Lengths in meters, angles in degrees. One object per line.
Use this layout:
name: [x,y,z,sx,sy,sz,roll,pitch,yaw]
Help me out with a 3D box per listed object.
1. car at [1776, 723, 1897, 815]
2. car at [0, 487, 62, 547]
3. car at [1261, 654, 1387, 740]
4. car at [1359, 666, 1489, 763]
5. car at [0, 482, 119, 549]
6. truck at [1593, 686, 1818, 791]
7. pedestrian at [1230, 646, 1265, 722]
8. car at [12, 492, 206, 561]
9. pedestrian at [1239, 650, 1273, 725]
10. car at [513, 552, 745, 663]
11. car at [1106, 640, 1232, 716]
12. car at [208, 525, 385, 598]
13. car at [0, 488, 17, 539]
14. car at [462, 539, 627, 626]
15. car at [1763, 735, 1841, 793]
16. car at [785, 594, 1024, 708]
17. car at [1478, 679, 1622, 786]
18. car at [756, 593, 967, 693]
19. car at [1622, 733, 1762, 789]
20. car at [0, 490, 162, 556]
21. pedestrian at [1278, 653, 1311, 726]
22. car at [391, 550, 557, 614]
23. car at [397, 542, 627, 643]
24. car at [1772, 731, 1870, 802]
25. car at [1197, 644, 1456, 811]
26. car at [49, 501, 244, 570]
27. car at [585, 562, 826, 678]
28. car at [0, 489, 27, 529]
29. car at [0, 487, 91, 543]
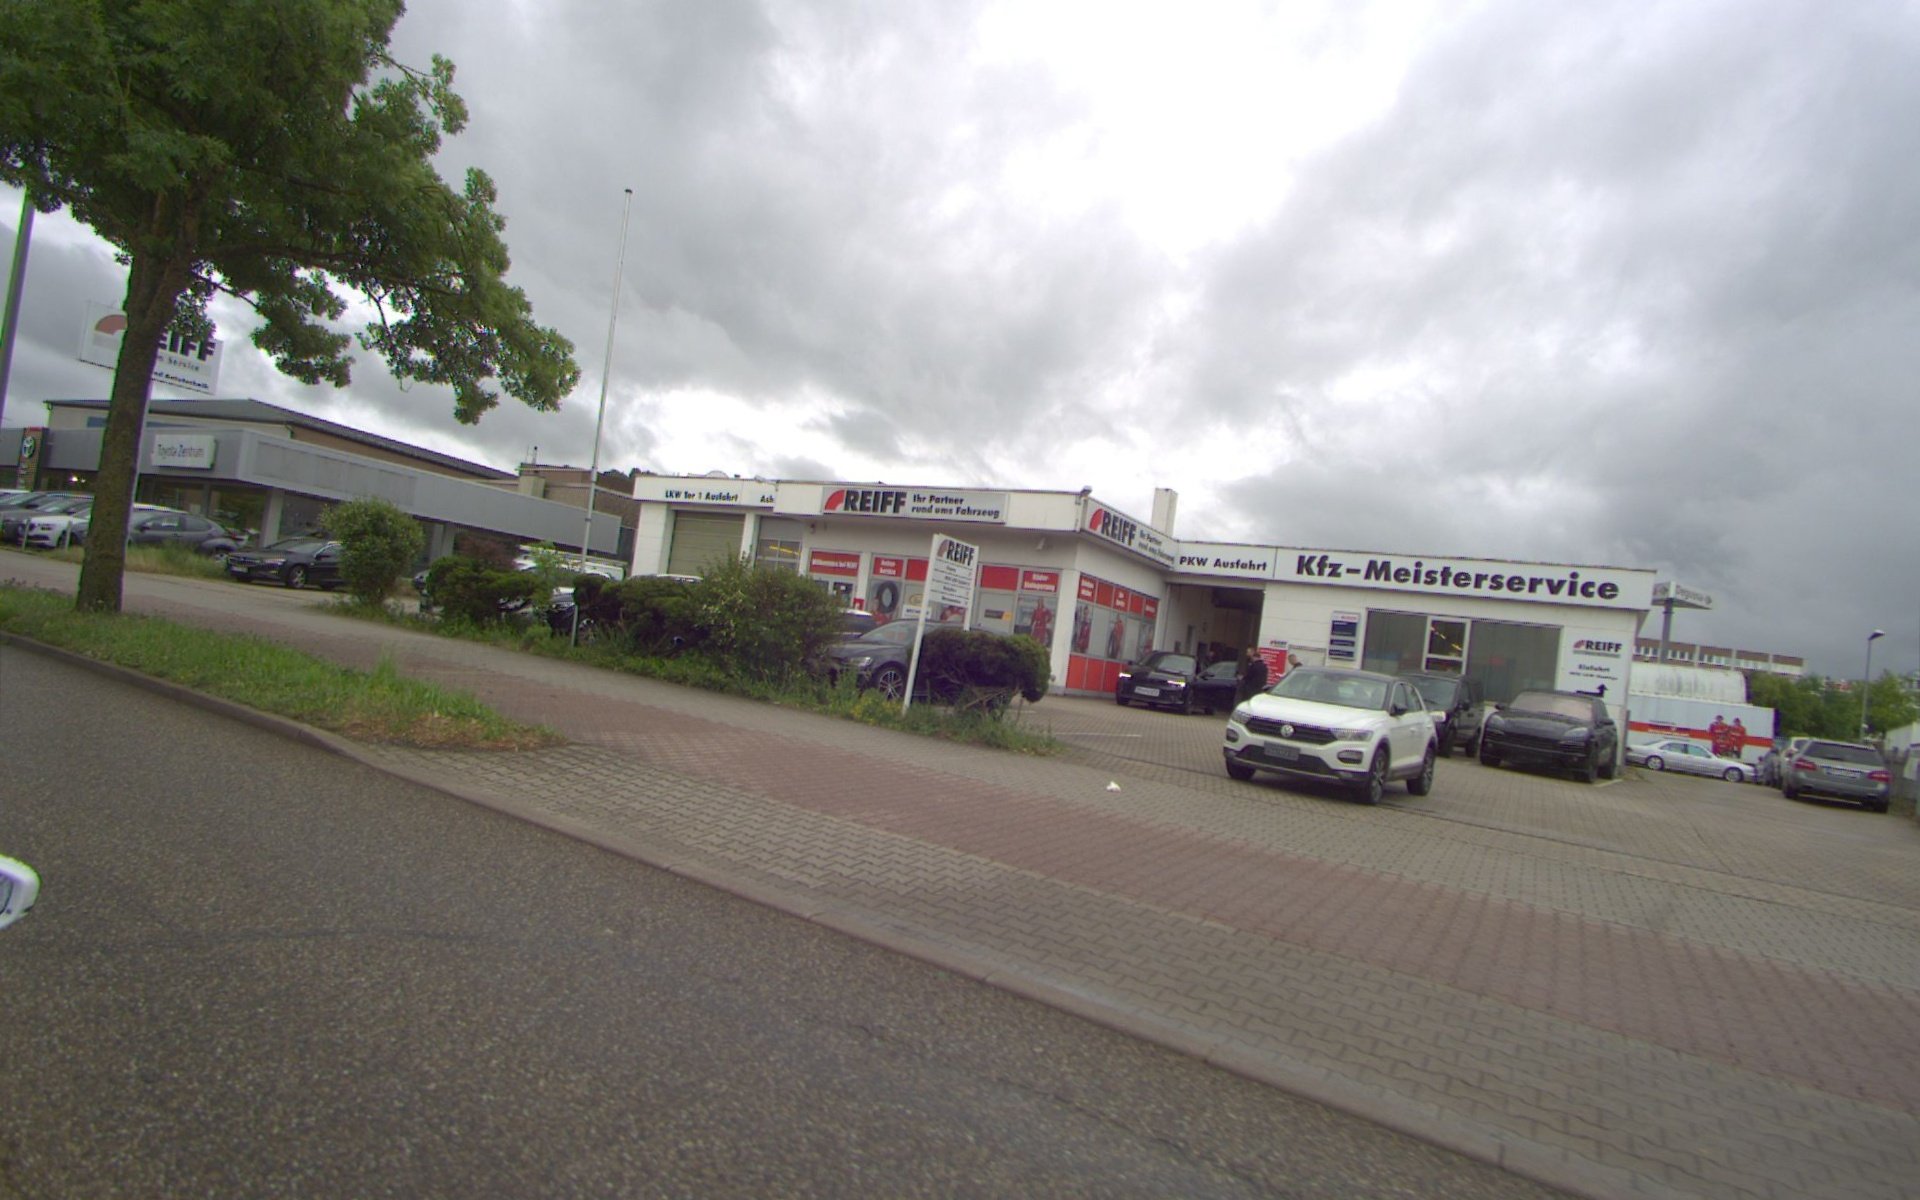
car: [20.937,3.993,24.187,1.875,1.721,4.163,6,-2,39]
car: [-33.437,-3.049,34.096,1.781,1.807,3.995,7,-2,30]
car: [8.509,2.248,23.314,1.747,1.598,3.992,7,-1,33]
car: [10.320,2.501,22.232,1.925,1.699,3.992,7,-1,33]
car: [-29.070,-2.691,31.340,1.781,1.810,3.988,7,2,30]
truck: [34.742,6.407,47.333,8.034,3.565,2.279,6,-3,33]
pedestrian: [7.175,2.090,25.076,0.436,1.806,0.510,8,-1,-44]
car: [-25.004,-2.114,29.699,1.781,1.564,3.989,7,2,30]
pedestrian: [7.088,2.081,24.075,0.506,1.725,0.439,7,-1,4]
car: [-6.870,0.191,21.094,4.123,1.682,1.802,9,0,-38]
car: [5.190,1.957,24.577,1.757,1.495,3.856,6,-3,31]
car: [-18.616,-1.040,28.386,1.763,1.481,3.687,7,-1,29]
car: [-36.594,-3.411,35.771,1.781,1.807,3.995,7,-2,30]
car: [-13.504,-0.512,33.004,1.931,2.174,4.665,7,-2,28]
car: [29.345,5.681,35.156,1.875,1.619,3.858,6,-2,39]
car: [-0.872,0.947,17.573,1.695,1.540,3.980,6,-2,43]
car: [12.053,2.671,20.426,1.928,1.699,3.989,6,-2,37]
car: [-1.887,0.899,20.154,1.710,1.541,3.921,6,-2,43]
car: [32.336,7.099,44.583,4.788,1.615,1.837,6,-4,36]
car: [-27.056,-2.342,30.553,1.781,1.606,3.989,7,2,30]
pedestrian: [8.658,2.315,26.013,0.497,1.806,0.515,6,-1,35]
car: [-16.354,-0.561,34.101,1.966,1.515,4.663,7,-2,30]
car: [-9.639,-0.132,21.776,4.041,1.616,1.962,9,-2,-41]
car: [24.801,4.764,29.090,1.875,1.619,3.858,6,-2,39]
car: [4.853,1.607,12.919,1.861,1.570,4.177,7,-2,37]
car: [-22.856,-1.781,28.413,1.796,1.480,3.837,7,2,28]
car: [-4.917,0.444,19.821,4.133,1.682,1.798,9,0,-45]
car: [-43.929,-4.269,45.056,4.052,1.641,1.878,7,0,29]
car: [-31.315,-2.855,32.878,1.780,1.609,3.990,8,3,27]
